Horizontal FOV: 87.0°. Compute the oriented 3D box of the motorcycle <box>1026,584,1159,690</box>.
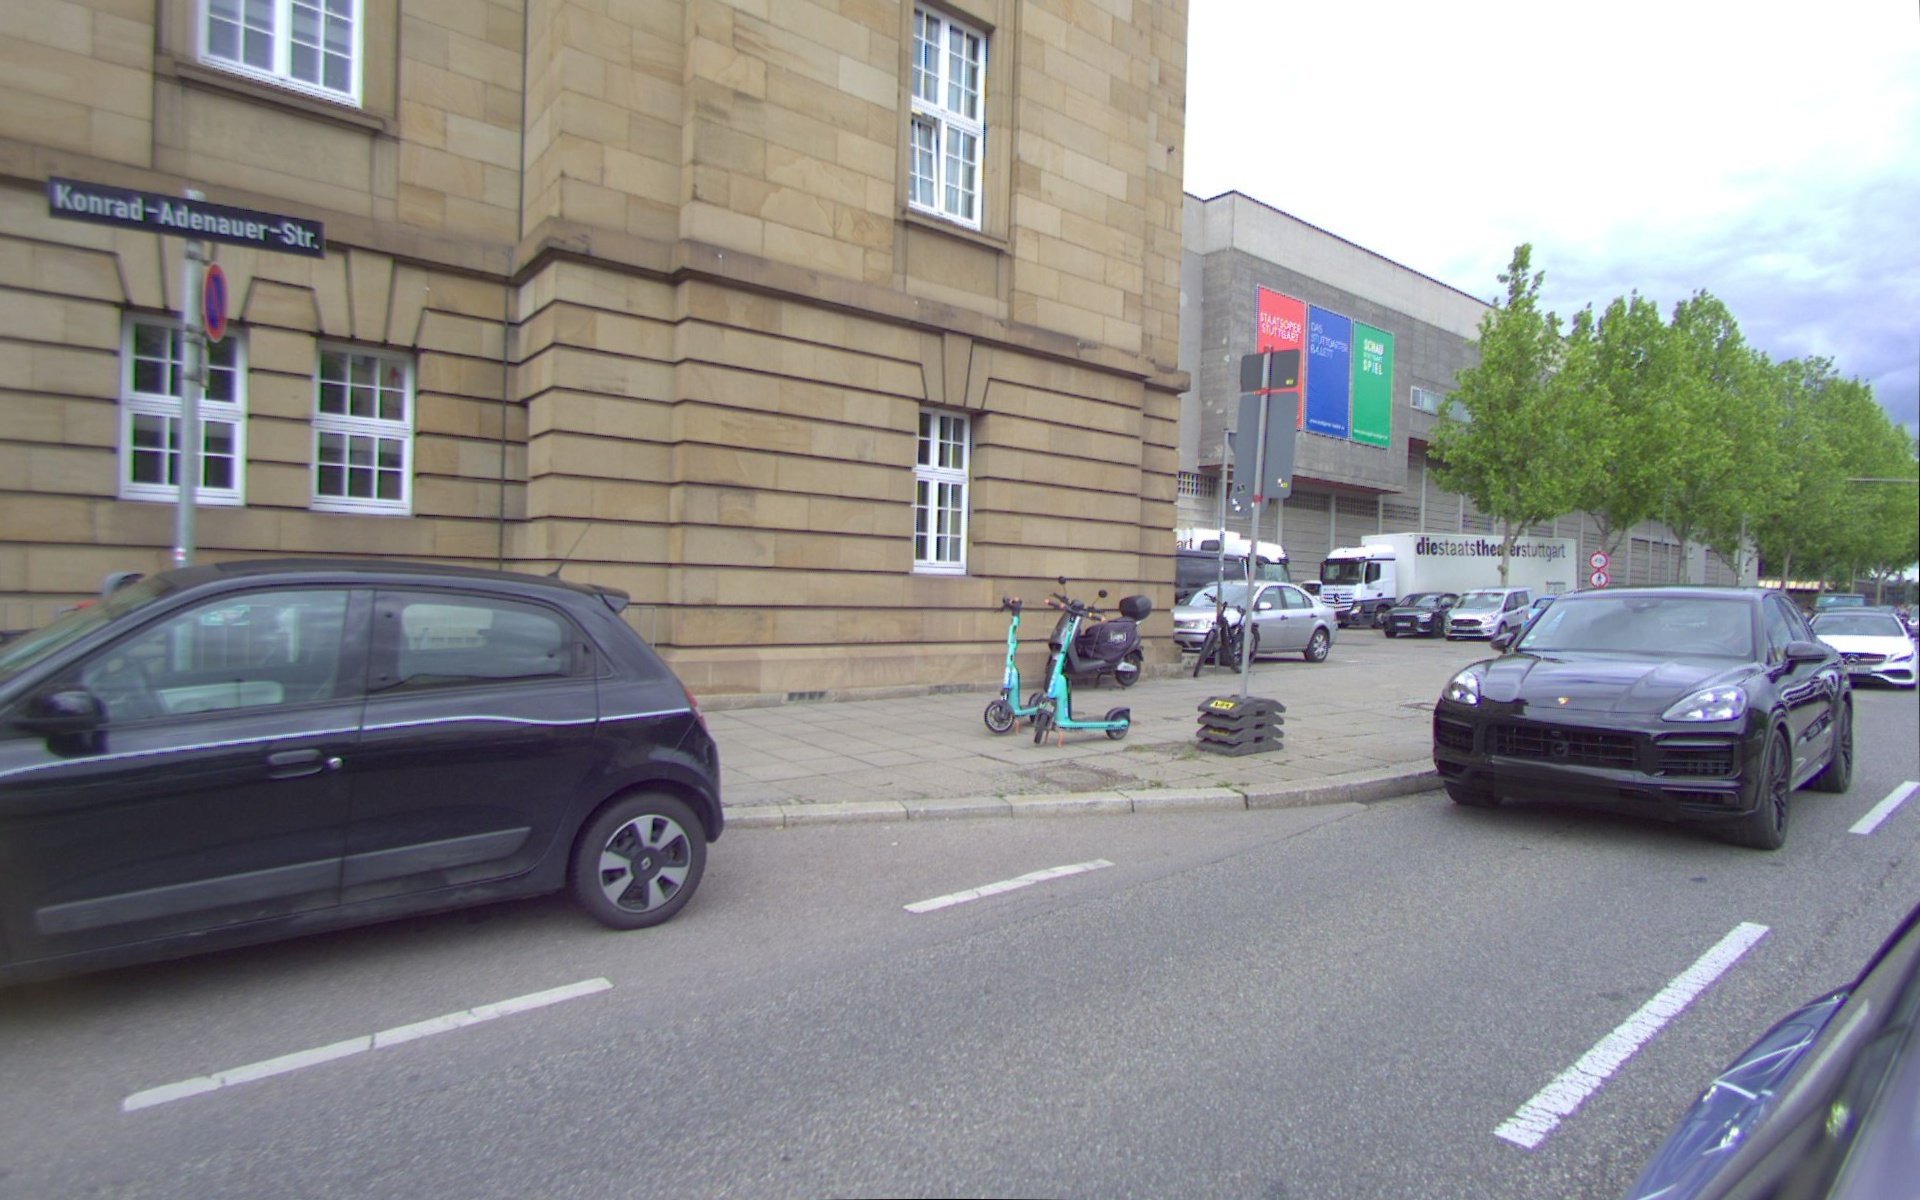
[{"bbox_3d":[1.708,0.436,12.854,1.887,1.257,0.456,0,2,-39],"label":"motorcycle"}]

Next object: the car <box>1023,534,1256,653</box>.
[{"bbox_3d":[3.678,-0.105,20.173,4.829,2.095,1.952,1,0,-41],"label":"car"}]

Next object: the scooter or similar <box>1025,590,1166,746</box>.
[{"bbox_3d":[1.214,0.557,8.923,1.378,1.277,0.380,0,1,-40],"label":"scooter or similar"}]

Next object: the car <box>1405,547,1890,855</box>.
[{"bbox_3d":[5.309,0.583,7.617,4.126,1.679,1.906,0,-3,-40],"label":"car"}]

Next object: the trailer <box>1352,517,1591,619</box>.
[{"bbox_3d":[23.730,-1.373,46.391,13.699,4.153,3.159,-1,-1,-32],"label":"trailer"}]

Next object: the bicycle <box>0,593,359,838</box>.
[{"bbox_3d":[-4.315,0.554,5.447,1.799,1.171,0.460,0,1,-41],"label":"bicycle"}]

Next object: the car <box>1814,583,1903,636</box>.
[{"bbox_3d":[35.610,0.345,40.070,4.320,1.950,1.952,0,1,-39],"label":"car"}]

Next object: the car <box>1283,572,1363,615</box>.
[{"bbox_3d":[16.718,-0.311,46.585,3.925,1.905,1.560,0,0,-36],"label":"car"}]

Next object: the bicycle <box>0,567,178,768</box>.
[{"bbox_3d":[-6.342,0.434,6.756,1.758,1.304,0.413,0,1,-40],"label":"bicycle"}]

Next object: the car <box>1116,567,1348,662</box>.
[{"bbox_3d":[4.926,0.234,17.990,4.494,1.488,1.781,1,0,-41],"label":"car"}]

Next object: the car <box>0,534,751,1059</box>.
[{"bbox_3d":[-2.847,0.578,4.025,3.640,1.571,1.550,0,1,-38],"label":"car"}]

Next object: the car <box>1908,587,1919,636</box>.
[{"bbox_3d":[42.321,0.487,43.635,1.994,2.039,3.936,0,0,44],"label":"car"}]

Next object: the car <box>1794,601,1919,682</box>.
[{"bbox_3d":[17.785,0.728,19.722,3.934,1.393,1.931,0,1,-44],"label":"car"}]

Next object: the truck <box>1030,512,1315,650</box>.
[{"bbox_3d":[7.157,-0.788,36.174,2.945,4.257,10.379,1,2,-39],"label":"truck"}]

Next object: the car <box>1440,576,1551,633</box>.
[{"bbox_3d":[18.193,0.150,34.280,4.541,1.807,1.807,0,-2,-42],"label":"car"}]

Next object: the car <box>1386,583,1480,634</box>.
[{"bbox_3d":[16.874,0.274,36.062,3.696,1.710,1.717,0,0,-42],"label":"car"}]

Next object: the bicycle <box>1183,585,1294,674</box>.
[{"bbox_3d":[4.220,0.415,15.266,1.929,1.239,0.610,0,4,-42],"label":"bicycle"}]

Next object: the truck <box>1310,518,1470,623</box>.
[{"bbox_3d":[18.302,-1.202,43.007,6.444,4.136,3.144,0,0,-32],"label":"truck"}]

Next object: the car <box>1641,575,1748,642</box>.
[{"bbox_3d":[21.092,0.238,28.992,4.411,1.760,1.806,1,0,-45],"label":"car"}]

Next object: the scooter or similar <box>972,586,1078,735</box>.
[{"bbox_3d":[0.635,0.522,9.588,0.448,1.268,1.355,1,2,30],"label":"scooter or similar"}]

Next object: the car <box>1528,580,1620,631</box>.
[{"bbox_3d":[19.584,0.159,32.226,3.443,1.549,1.582,0,0,-42],"label":"car"}]

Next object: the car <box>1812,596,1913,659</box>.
[{"bbox_3d":[23.521,0.663,26.343,3.560,1.491,1.610,0,1,-42],"label":"car"}]
